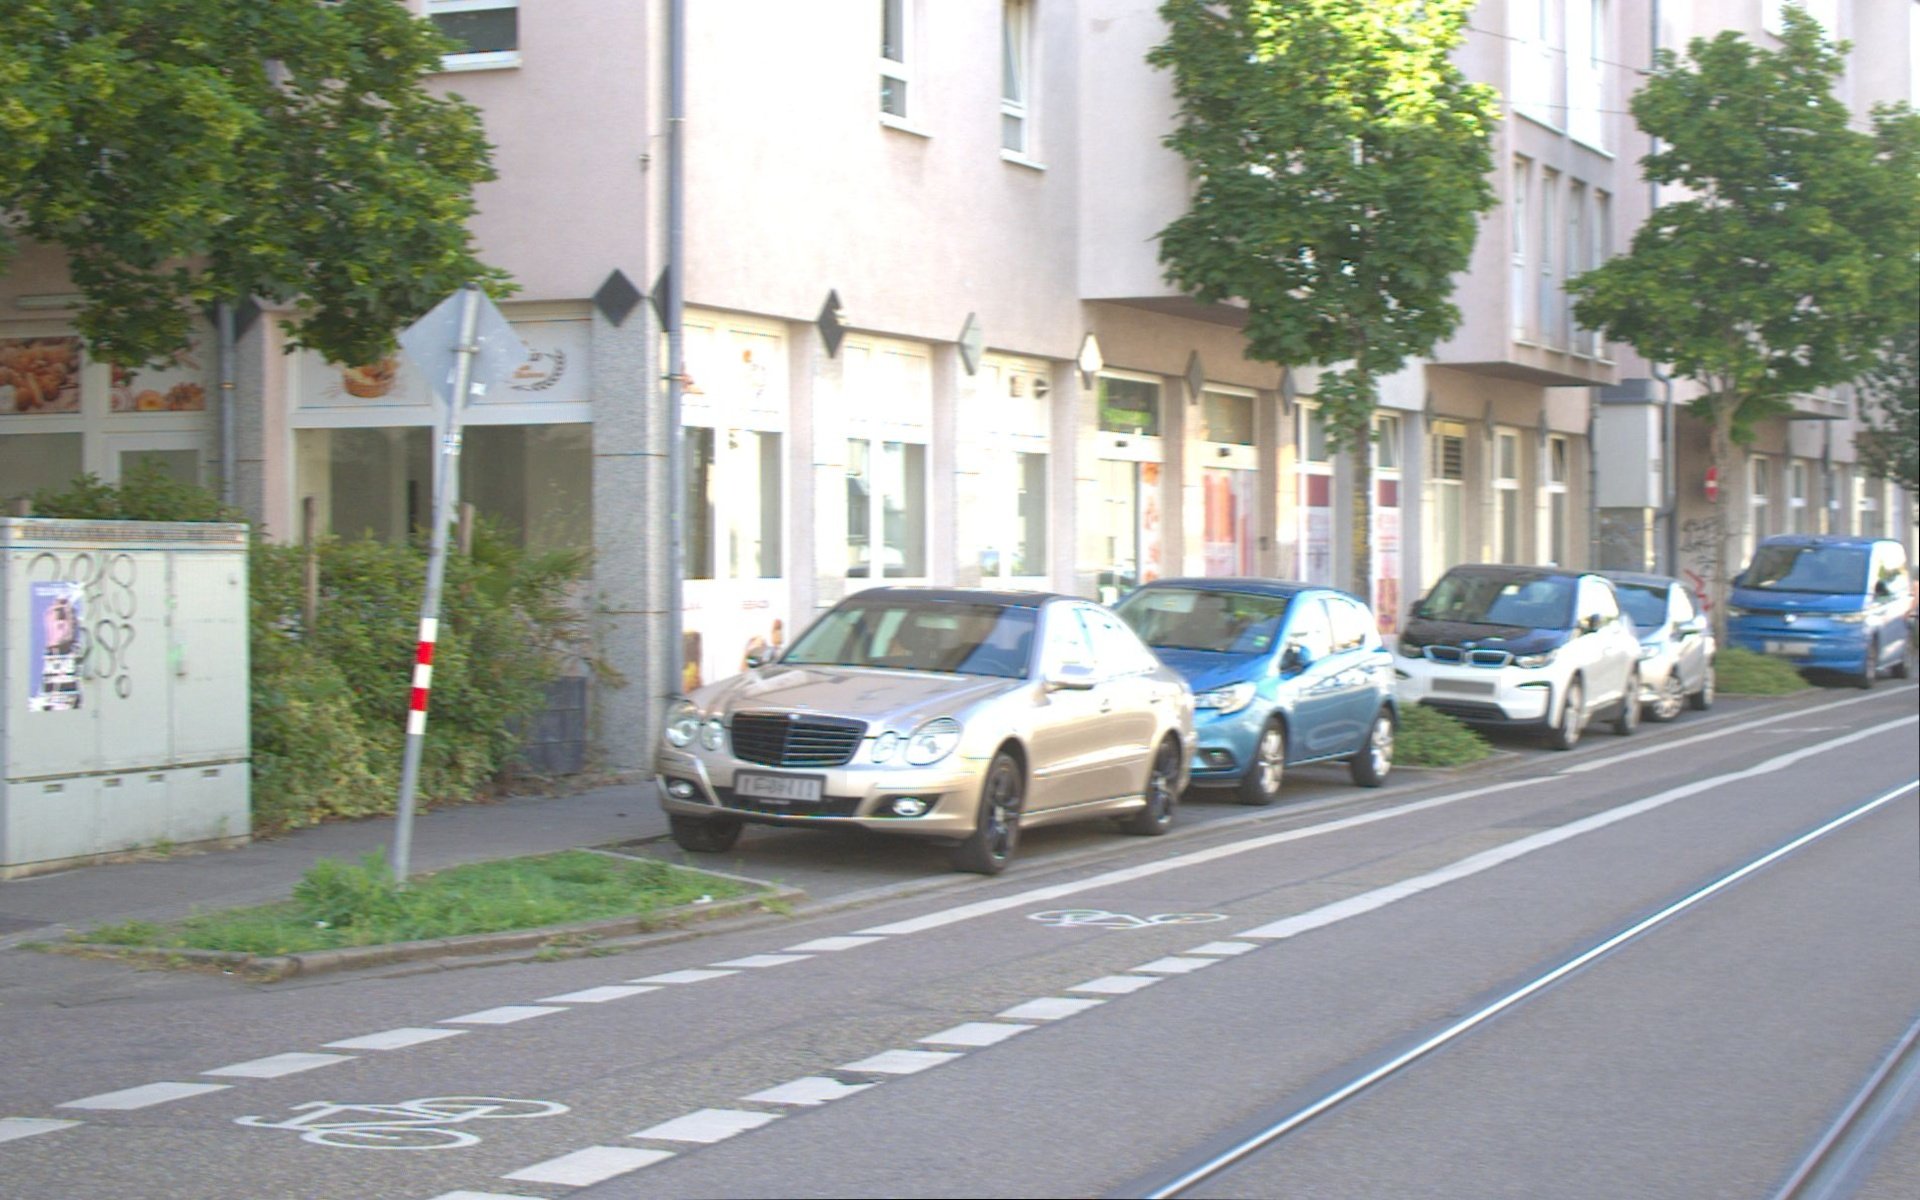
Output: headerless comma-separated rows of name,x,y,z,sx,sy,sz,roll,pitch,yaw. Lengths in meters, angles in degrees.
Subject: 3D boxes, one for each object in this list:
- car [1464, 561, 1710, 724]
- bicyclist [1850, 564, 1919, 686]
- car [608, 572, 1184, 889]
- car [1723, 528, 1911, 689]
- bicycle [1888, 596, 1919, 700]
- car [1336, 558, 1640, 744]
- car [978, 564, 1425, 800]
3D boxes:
car,6.614,0.393,35.974,1.832,1.588,3.996,0,1,21
bicyclist,10.477,0.268,37.925,1.184,1.326,1.094,0,1,19
car,-0.226,0.617,18.881,1.746,1.438,3.996,3,2,21
car,11.180,0.067,44.664,1.667,1.980,4.337,0,1,24
bicycle,10.676,0.516,37.958,0.623,1.098,1.958,-2,0,20
car,4.951,0.413,31.791,1.832,1.588,3.995,0,1,23
car,1.802,0.532,24.340,1.832,1.484,3.995,-2,0,25
